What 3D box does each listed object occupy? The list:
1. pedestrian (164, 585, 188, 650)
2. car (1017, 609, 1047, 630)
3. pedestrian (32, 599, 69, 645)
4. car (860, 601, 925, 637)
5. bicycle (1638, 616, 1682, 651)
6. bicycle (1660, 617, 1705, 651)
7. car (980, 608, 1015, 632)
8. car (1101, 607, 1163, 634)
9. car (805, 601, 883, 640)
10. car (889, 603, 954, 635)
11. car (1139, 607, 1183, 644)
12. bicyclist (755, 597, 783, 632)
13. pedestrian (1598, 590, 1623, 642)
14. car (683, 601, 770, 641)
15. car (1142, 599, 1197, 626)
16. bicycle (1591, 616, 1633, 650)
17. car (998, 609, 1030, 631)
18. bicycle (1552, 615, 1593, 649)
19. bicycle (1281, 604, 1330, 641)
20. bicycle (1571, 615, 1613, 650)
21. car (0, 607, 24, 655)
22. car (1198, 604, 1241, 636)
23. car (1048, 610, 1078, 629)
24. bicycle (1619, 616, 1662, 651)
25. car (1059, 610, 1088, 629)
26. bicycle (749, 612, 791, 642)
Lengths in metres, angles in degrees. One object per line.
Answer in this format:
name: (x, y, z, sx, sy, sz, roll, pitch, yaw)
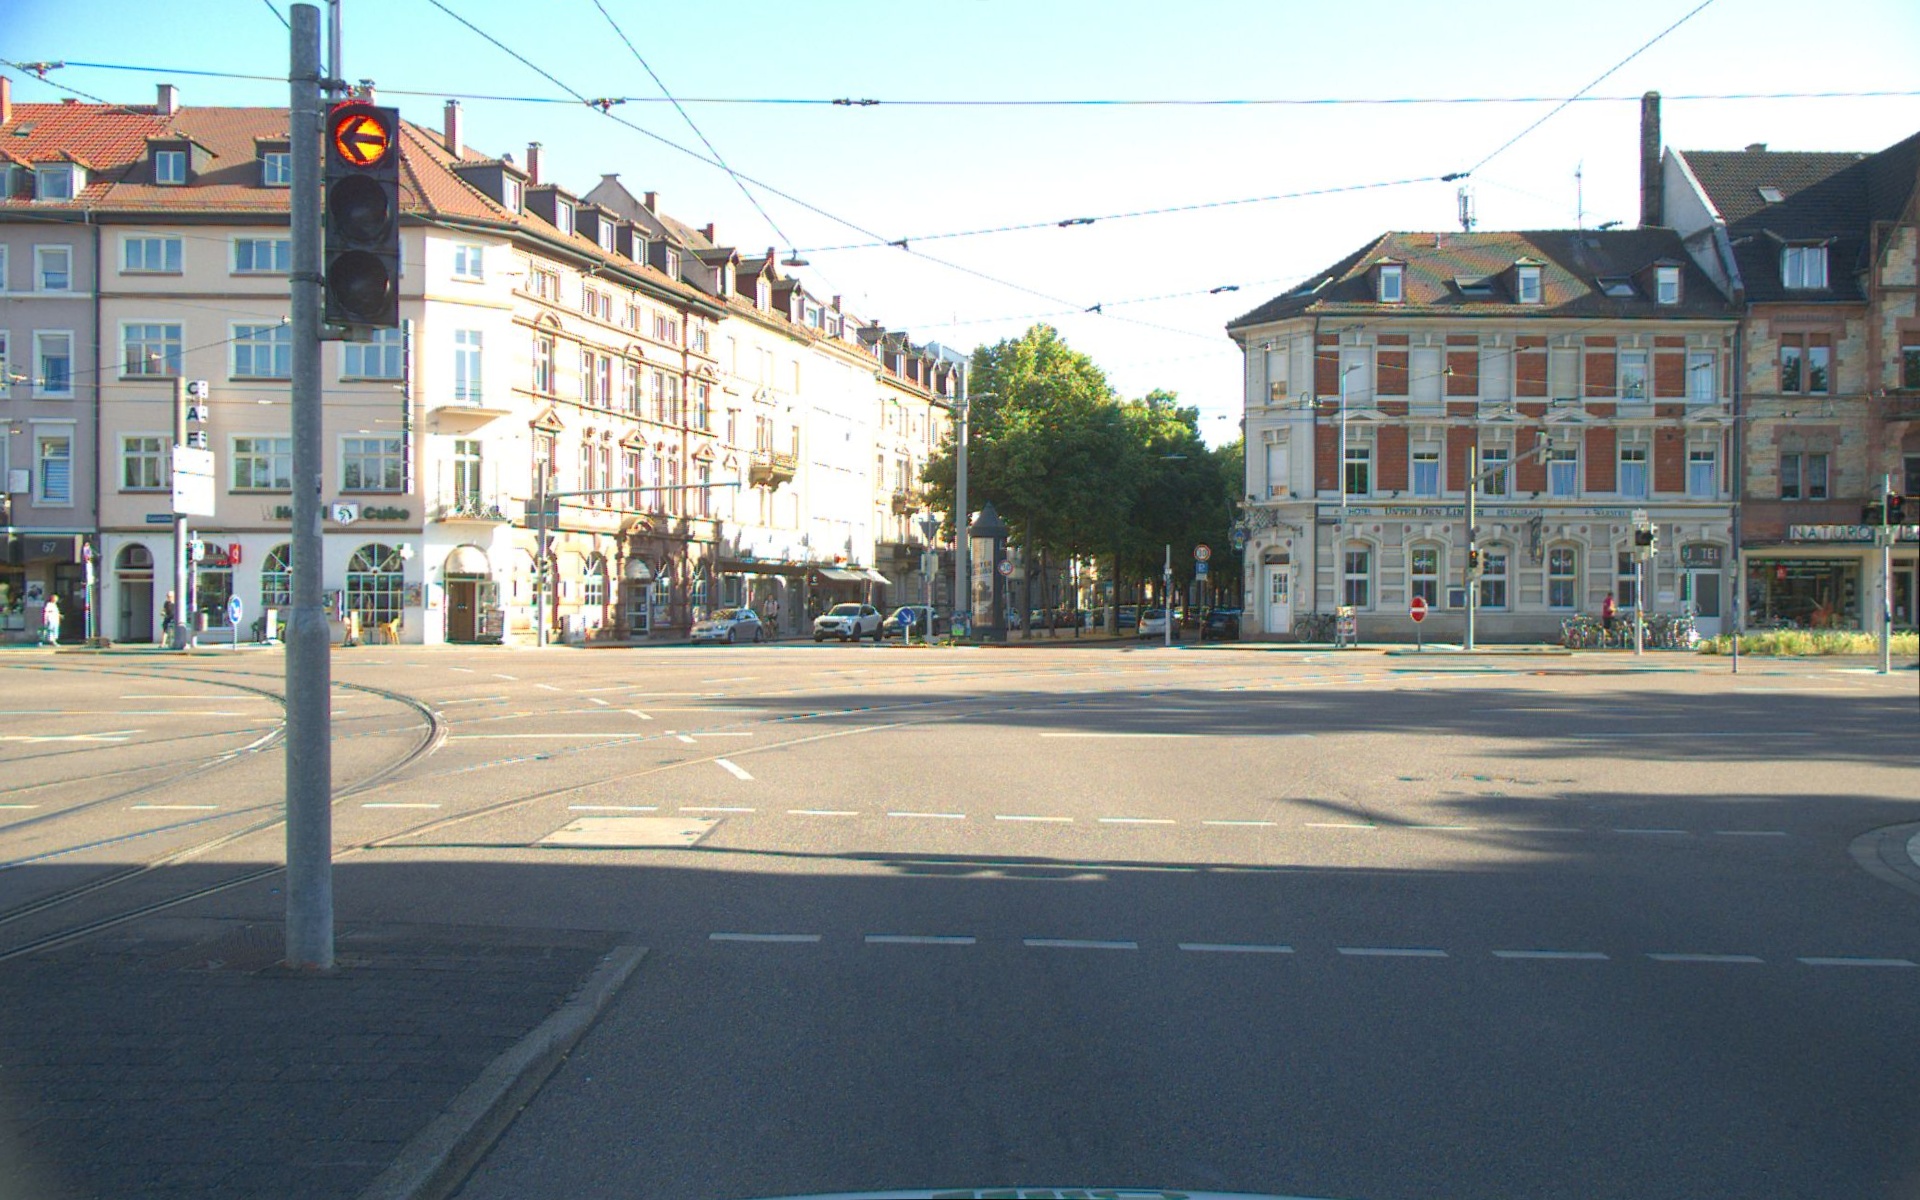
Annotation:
pedestrian: (-24.671, 0.540, 52.040, 0.498, 2.049, 0.505, 0, 0, 2)
car: (5.330, 1.425, 122.845, 1.704, 1.422, 4.127, 3, 0, 9)
pedestrian: (-30.529, 0.736, 55.515, 0.774, 1.553, 0.859, 0, 0, 0)
car: (-2.964, 0.802, 73.478, 1.951, 1.540, 4.004, 0, 0, 11)
bicycle: (22.599, 1.077, 53.407, 0.593, 1.069, 1.641, 0, 0, -6)
bicycle: (23.325, 1.089, 53.428, 0.593, 1.069, 1.641, 0, 0, -6)
car: (2.522, 1.320, 110.022, 1.704, 1.422, 4.127, 3, 0, 9)
car: (12.000, 1.413, 115.390, 4.024, 1.675, 1.748, 3, 0, 15)
car: (-4.656, 0.794, 67.085, 2.052, 1.525, 4.003, 0, 0, 13)
car: (-1.804, 0.895, 78.863, 2.052, 1.473, 4.367, 0, 0, 13)
car: (9.985, 1.241, 82.080, 1.638, 1.787, 3.761, 0, 0, 15)
bicyclist: (-7.660, 0.569, 66.399, 0.776, 1.399, 1.109, 0, 0, 14)
pedestrian: (22.361, 0.545, 56.845, 0.694, 1.782, 0.421, 0, 0, 0)
car: (-9.455, 0.816, 67.226, 2.052, 1.572, 4.367, 0, 0, 13)
car: (16.953, 1.026, 133.670, 4.026, 1.952, 1.746, 3, 0, 21)
bicycle: (21.113, 1.052, 53.599, 0.593, 1.069, 1.641, 0, 0, -6)
car: (3.799, 1.368, 115.845, 1.704, 1.422, 4.127, 3, 0, 9)
bicycle: (19.820, 1.029, 53.517, 0.593, 1.069, 1.641, 0, 0, -6)
bicycle: (11.971, 0.768, 57.308, 1.603, 1.243, 0.607, 0, 0, 16)
bicycle: (20.461, 1.040, 53.573, 0.593, 1.069, 1.641, 0, 0, -6)
car: (-32.068, 0.999, 52.161, 3.910, 1.489, 1.998, -1, 1, -6)
car: (12.969, 1.010, 82.471, 1.616, 1.551, 3.755, 0, -1, 17)
car: (8.239, 1.551, 131.712, 1.704, 1.422, 4.127, 3, 0, 13)
bicycle: (21.939, 1.065, 53.331, 0.593, 1.069, 1.641, 0, 0, -6)
car: (9.417, 1.587, 136.508, 1.704, 1.422, 4.127, 3, 0, 13)
bicycle: (-7.620, 1.067, 66.527, 0.734, 1.155, 2.812, 0, 0, 14)
